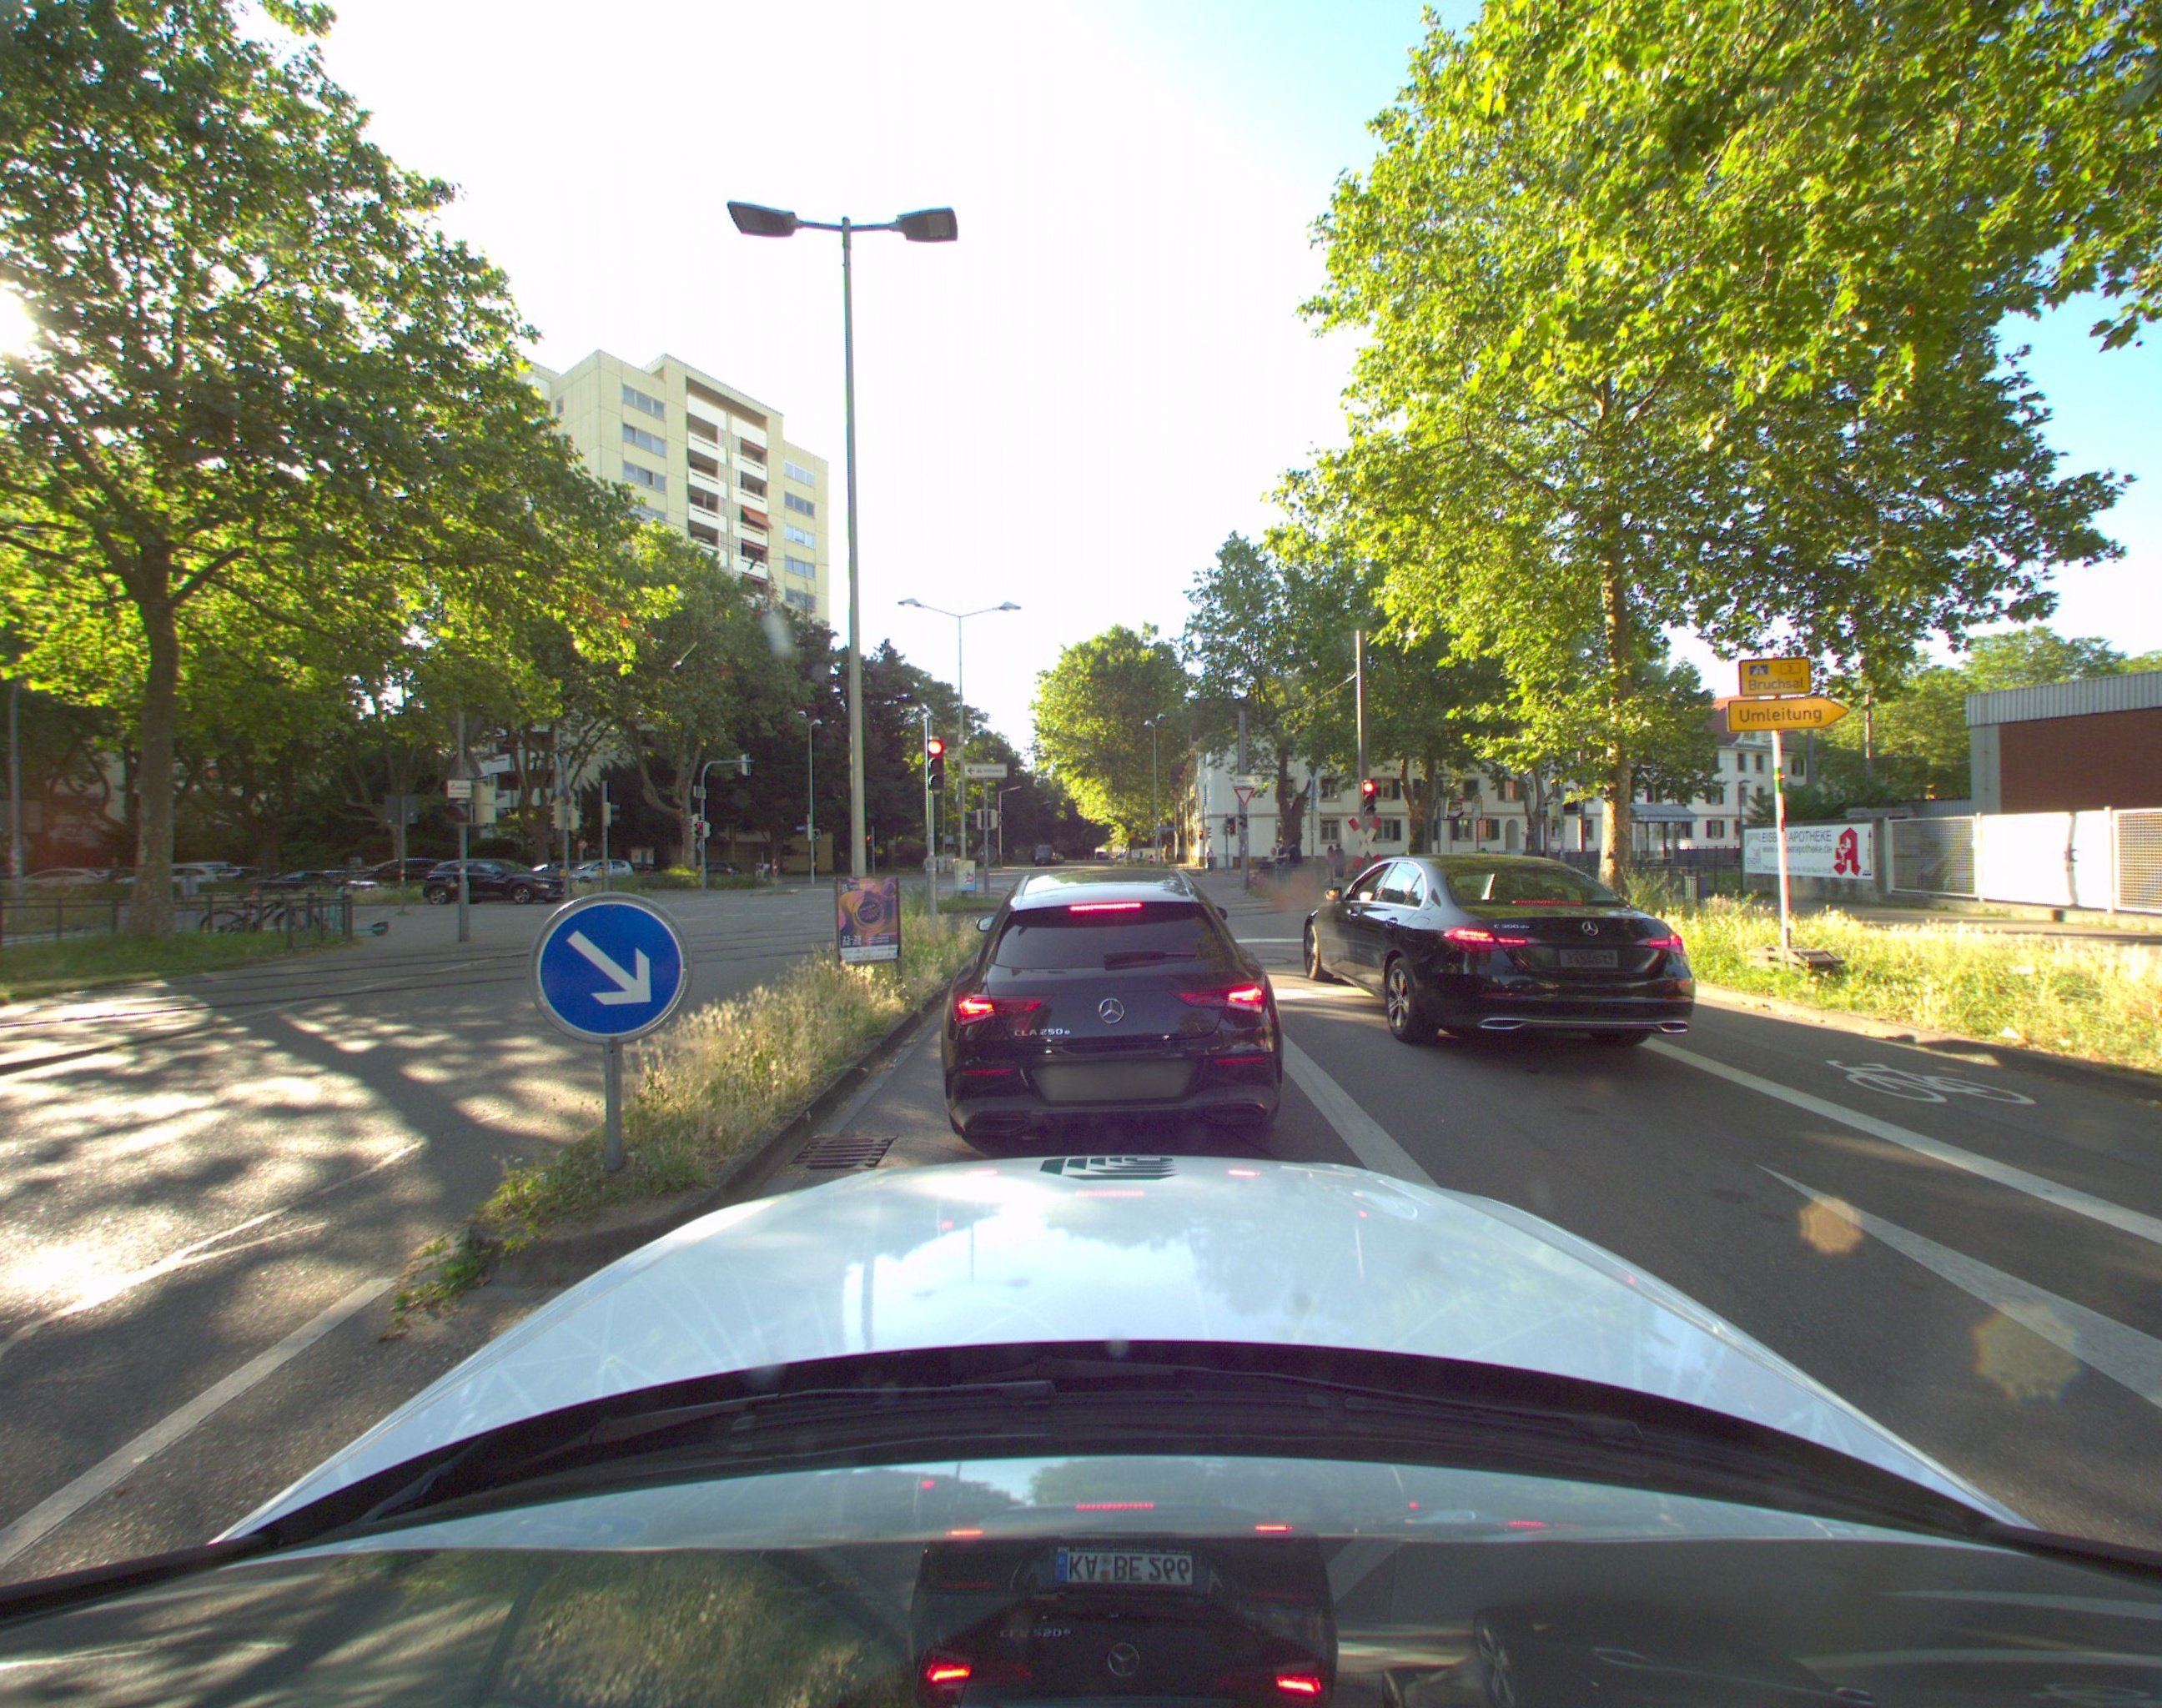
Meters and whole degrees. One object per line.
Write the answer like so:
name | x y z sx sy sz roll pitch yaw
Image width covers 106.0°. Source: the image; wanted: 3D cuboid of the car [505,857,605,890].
car | -27.108 0.974 42.090 1.716 1.596 4.025 -1 -1 32

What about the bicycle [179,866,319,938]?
bicycle | -15.959 0.900 15.670 1.845 1.307 0.380 0 -1 -26

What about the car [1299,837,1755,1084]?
car | 3.376 0.632 7.317 1.882 1.490 4.385 0 2 3

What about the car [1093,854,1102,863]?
car | 3.239 0.895 158.624 1.727 1.765 4.020 0 -1 2

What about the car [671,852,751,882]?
car | -22.646 0.800 49.925 3.963 1.774 2.005 -1 -1 9

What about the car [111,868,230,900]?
car | -49.166 1.588 44.072 1.716 1.596 4.025 -1 -1 32

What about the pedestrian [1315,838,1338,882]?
pedestrian | 10.716 0.261 35.559 0.703 1.918 0.838 0 -1 -2

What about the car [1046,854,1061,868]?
car | -3.668 0.948 110.046 1.727 1.765 4.343 0 -1 2

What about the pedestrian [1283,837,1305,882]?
pedestrian | 9.167 0.247 35.142 0.703 1.918 0.838 0 -1 -2

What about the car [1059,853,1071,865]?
car | -2.478 0.823 126.677 1.727 1.765 3.972 0 -1 2

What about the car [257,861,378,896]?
car | -37.420 1.147 39.999 1.716 1.596 4.025 -1 -1 32

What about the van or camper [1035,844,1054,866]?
van or camper | -4.425 0.127 100.051 1.986 2.541 4.653 0 -1 2

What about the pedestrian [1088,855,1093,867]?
pedestrian | 1.531 1.047 130.201 0.704 1.918 0.837 0 -1 -8

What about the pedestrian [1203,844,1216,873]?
pedestrian | 8.584 0.311 54.435 0.703 1.918 0.838 0 -1 -2

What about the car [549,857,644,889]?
car | -24.930 0.948 42.029 1.716 1.596 3.831 -1 -1 32

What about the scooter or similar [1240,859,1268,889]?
scooter or similar | 6.459 0.752 30.472 0.826 1.104 0.808 0 -1 -4

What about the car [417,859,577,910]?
car | -19.465 0.994 27.279 3.981 1.596 1.735 0 -1 -5

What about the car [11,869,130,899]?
car | -57.107 1.666 46.075 1.716 1.596 4.025 -1 -1 32

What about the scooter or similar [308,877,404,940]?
scooter or similar | -15.099 1.110 16.983 0.408 1.239 1.450 -1 -1 40

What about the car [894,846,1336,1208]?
car | 0.255 0.720 5.490 1.881 1.450 4.004 0 2 3

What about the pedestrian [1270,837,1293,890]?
pedestrian | 7.406 0.345 30.083 0.680 1.918 0.707 0 -1 0

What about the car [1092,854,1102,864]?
car | 2.909 0.974 150.542 1.727 1.765 4.020 0 -1 2

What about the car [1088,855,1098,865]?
car | 2.097 1.002 145.737 1.727 1.765 4.020 0 -1 2

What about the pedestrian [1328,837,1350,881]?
pedestrian | 11.567 0.232 36.540 0.703 1.918 0.838 0 -1 -2

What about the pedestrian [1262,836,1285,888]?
pedestrian | 7.282 0.300 30.859 0.681 1.918 0.707 0 -1 -2
